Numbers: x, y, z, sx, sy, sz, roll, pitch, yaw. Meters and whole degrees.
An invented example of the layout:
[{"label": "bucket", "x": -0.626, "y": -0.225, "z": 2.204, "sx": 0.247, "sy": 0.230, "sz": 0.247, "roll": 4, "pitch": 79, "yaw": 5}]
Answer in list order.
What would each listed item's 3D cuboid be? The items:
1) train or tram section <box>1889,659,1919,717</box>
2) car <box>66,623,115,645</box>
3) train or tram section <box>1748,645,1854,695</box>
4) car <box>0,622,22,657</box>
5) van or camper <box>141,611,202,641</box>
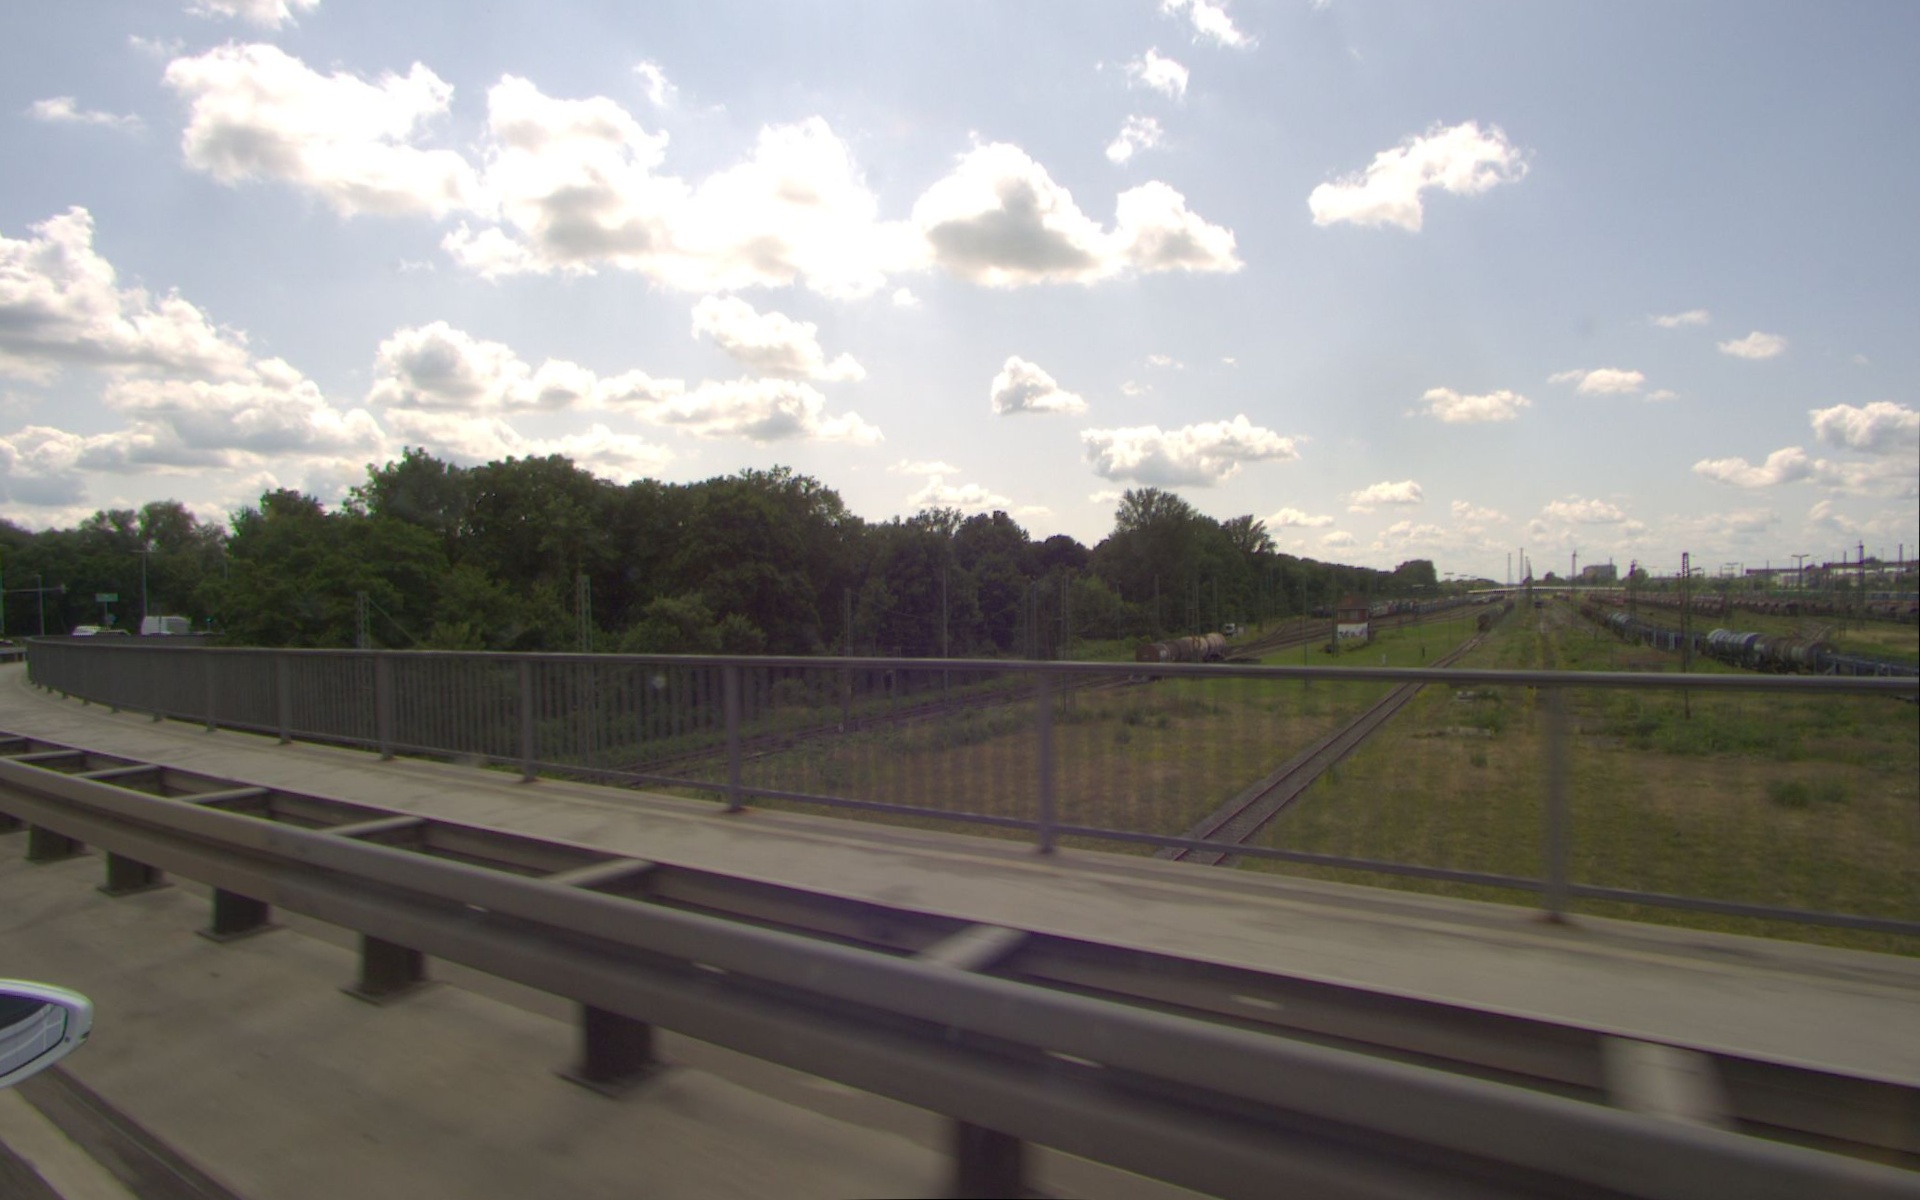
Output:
[{"label": "train or tram section", "x": 75.215, "y": 6.980, "z": 74.963, "sx": 3.163, "sy": 4.205, "sz": 17.630, "roll": -4, "pitch": -2, "yaw": 26}, {"label": "car", "x": -73.752, "y": 2.908, "z": 84.994, "sx": 1.789, "sy": 1.776, "sz": 4.293, "roll": 1, "pitch": -2, "yaw": -22}, {"label": "train or tram section", "x": 87.947, "y": 7.158, "z": 105.236, "sx": 3.158, "sy": 4.205, "sz": 15.931, "roll": -4, "pitch": -2, "yaw": 20}, {"label": "car", "x": -47.364, "y": 1.889, "z": 48.575, "sx": 1.801, "sy": 1.672, "sz": 3.837, "roll": 2, "pitch": -2, "yaw": -29}, {"label": "van or camper", "x": -66.499, "y": 2.209, "z": 84.513, "sx": 2.240, "sy": 2.370, "sz": 5.232, "roll": 1, "pitch": -2, "yaw": -17}]
